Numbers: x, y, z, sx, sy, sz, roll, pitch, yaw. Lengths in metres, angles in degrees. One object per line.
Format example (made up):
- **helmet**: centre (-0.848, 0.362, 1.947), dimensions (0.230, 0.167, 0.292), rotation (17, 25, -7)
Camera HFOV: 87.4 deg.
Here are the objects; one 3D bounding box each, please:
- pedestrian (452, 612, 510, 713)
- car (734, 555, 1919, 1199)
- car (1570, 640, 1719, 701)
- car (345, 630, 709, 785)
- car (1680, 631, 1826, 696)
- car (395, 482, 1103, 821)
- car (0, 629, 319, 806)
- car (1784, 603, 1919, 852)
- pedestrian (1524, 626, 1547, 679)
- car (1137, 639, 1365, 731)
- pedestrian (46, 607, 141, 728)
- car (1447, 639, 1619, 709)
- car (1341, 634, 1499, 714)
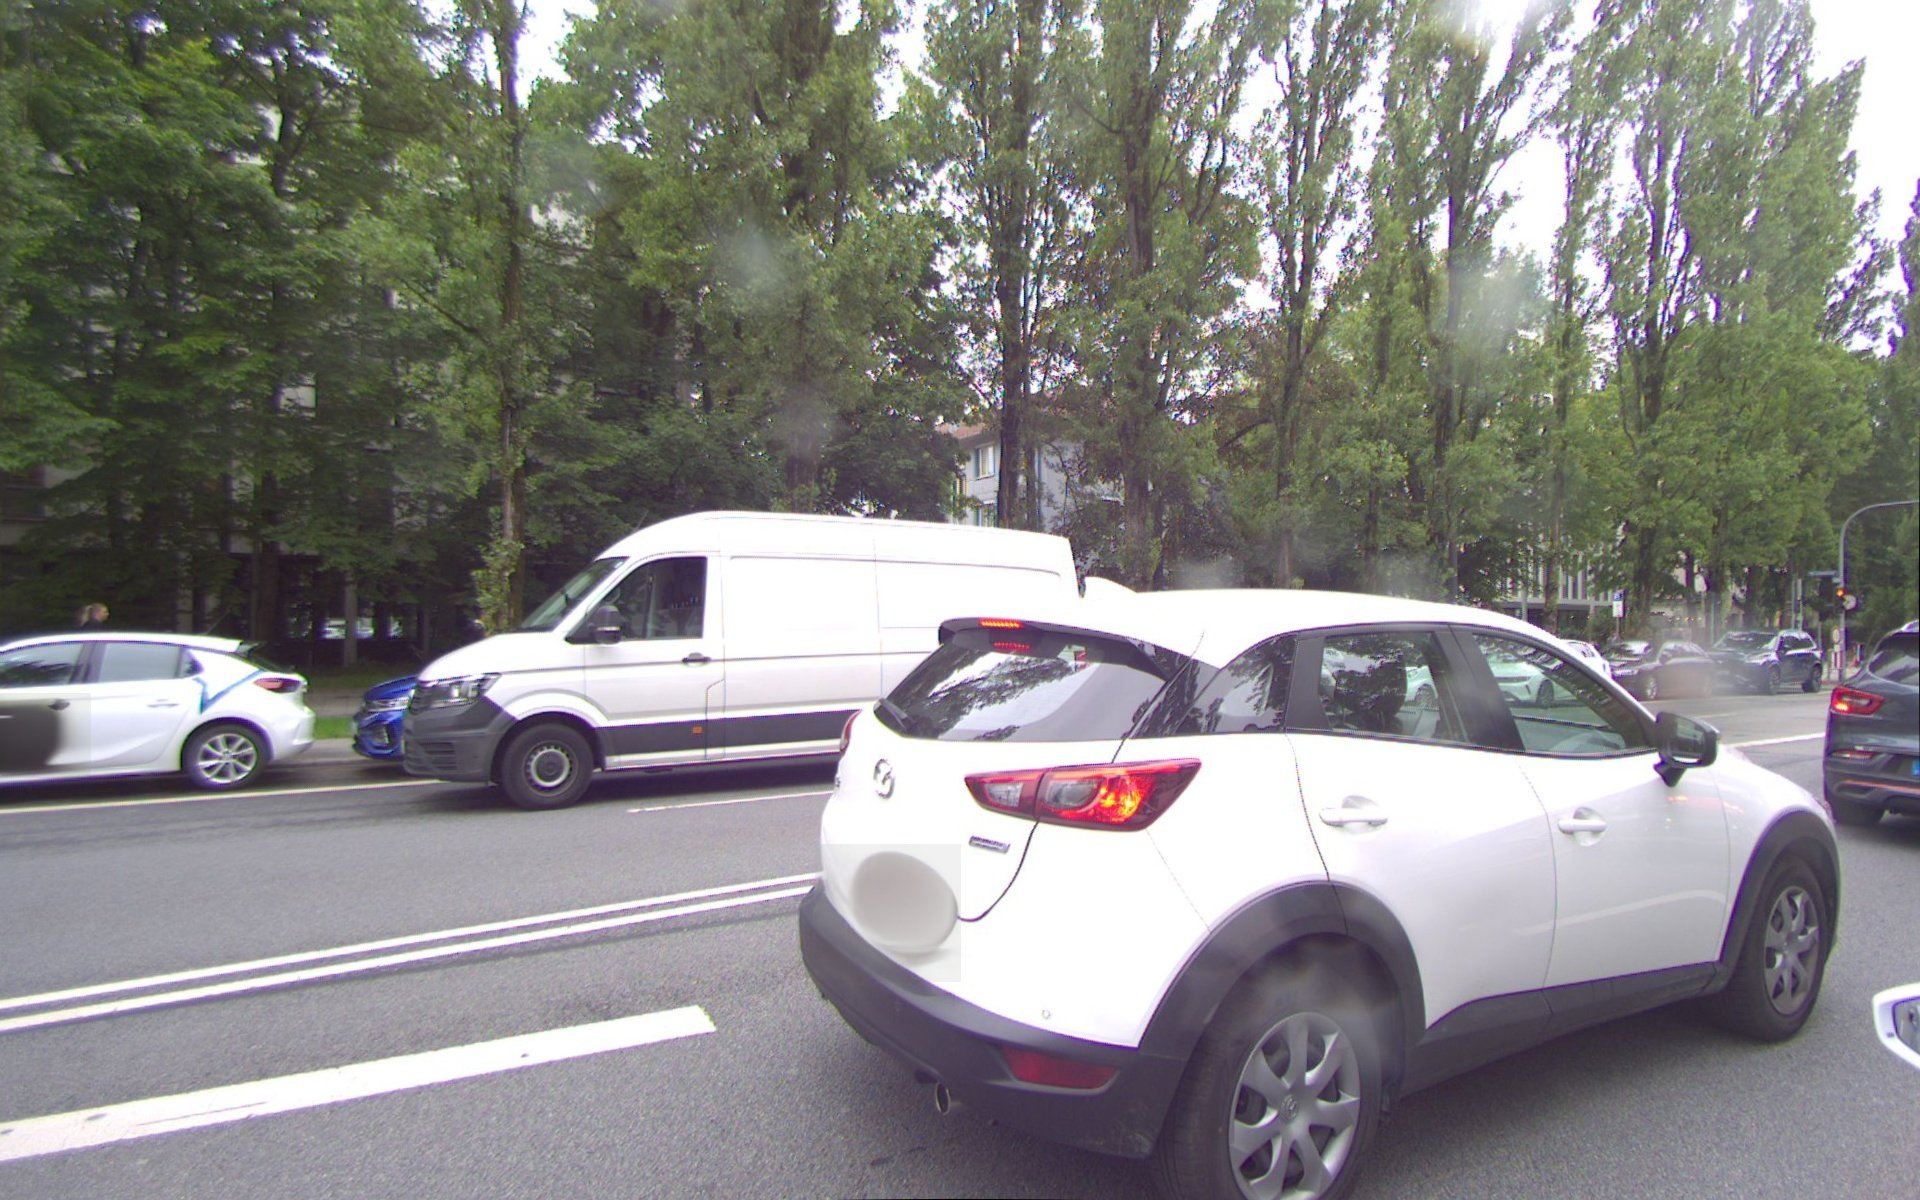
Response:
- **pedestrian**: centre (-8.883, 1.143, 18.608), dimensions (0.879, 1.795, 0.733), rotation (1, 0, -30)
- **car**: centre (1.402, 0.739, 3.591), dimensions (3.960, 1.545, 1.897), rotation (1, -1, -29)
- **car**: centre (17.097, 1.723, 25.040), dimensions (4.123, 1.407, 1.614), rotation (1, -4, -34)
- **car**: centre (-4.821, 1.113, 11.303), dimensions (3.547, 1.470, 1.700), rotation (1, -4, -33)
- **car**: centre (22.272, 1.751, 28.170), dimensions (4.646, 1.675, 1.838), rotation (1, -4, -34)
- **car**: centre (-1.841, 0.492, 10.181), dimensions (6.683, 2.515, 2.216), rotation (1, -3, -32)
- **car**: centre (-8.381, 1.029, 9.189), dimensions (4.187, 1.471, 1.761), rotation (1, -4, -33)
- **car**: centre (8.100, 0.877, 7.441), dimensions (4.138, 1.607, 1.826), rotation (1, 0, -31)
- **pedestrian**: centre (16.989, 1.537, 29.651), dimensions (0.390, 1.548, 0.463), rotation (1, -1, -30)
- **car**: centre (5.068, 1.416, 17.419), dimensions (3.805, 1.444, 1.594), rotation (1, -4, -30)
- **pedestrian**: centre (-13.084, 1.003, 15.194), dimensions (0.946, 1.764, 0.663), rotation (1, -1, -30)
- **car**: centre (12.693, 1.586, 22.181), dimensions (4.123, 1.407, 1.614), rotation (1, -4, -34)
- **car**: centre (9.151, 1.447, 19.955), dimensions (2.932, 1.466, 1.420), rotation (1, -4, -32)
